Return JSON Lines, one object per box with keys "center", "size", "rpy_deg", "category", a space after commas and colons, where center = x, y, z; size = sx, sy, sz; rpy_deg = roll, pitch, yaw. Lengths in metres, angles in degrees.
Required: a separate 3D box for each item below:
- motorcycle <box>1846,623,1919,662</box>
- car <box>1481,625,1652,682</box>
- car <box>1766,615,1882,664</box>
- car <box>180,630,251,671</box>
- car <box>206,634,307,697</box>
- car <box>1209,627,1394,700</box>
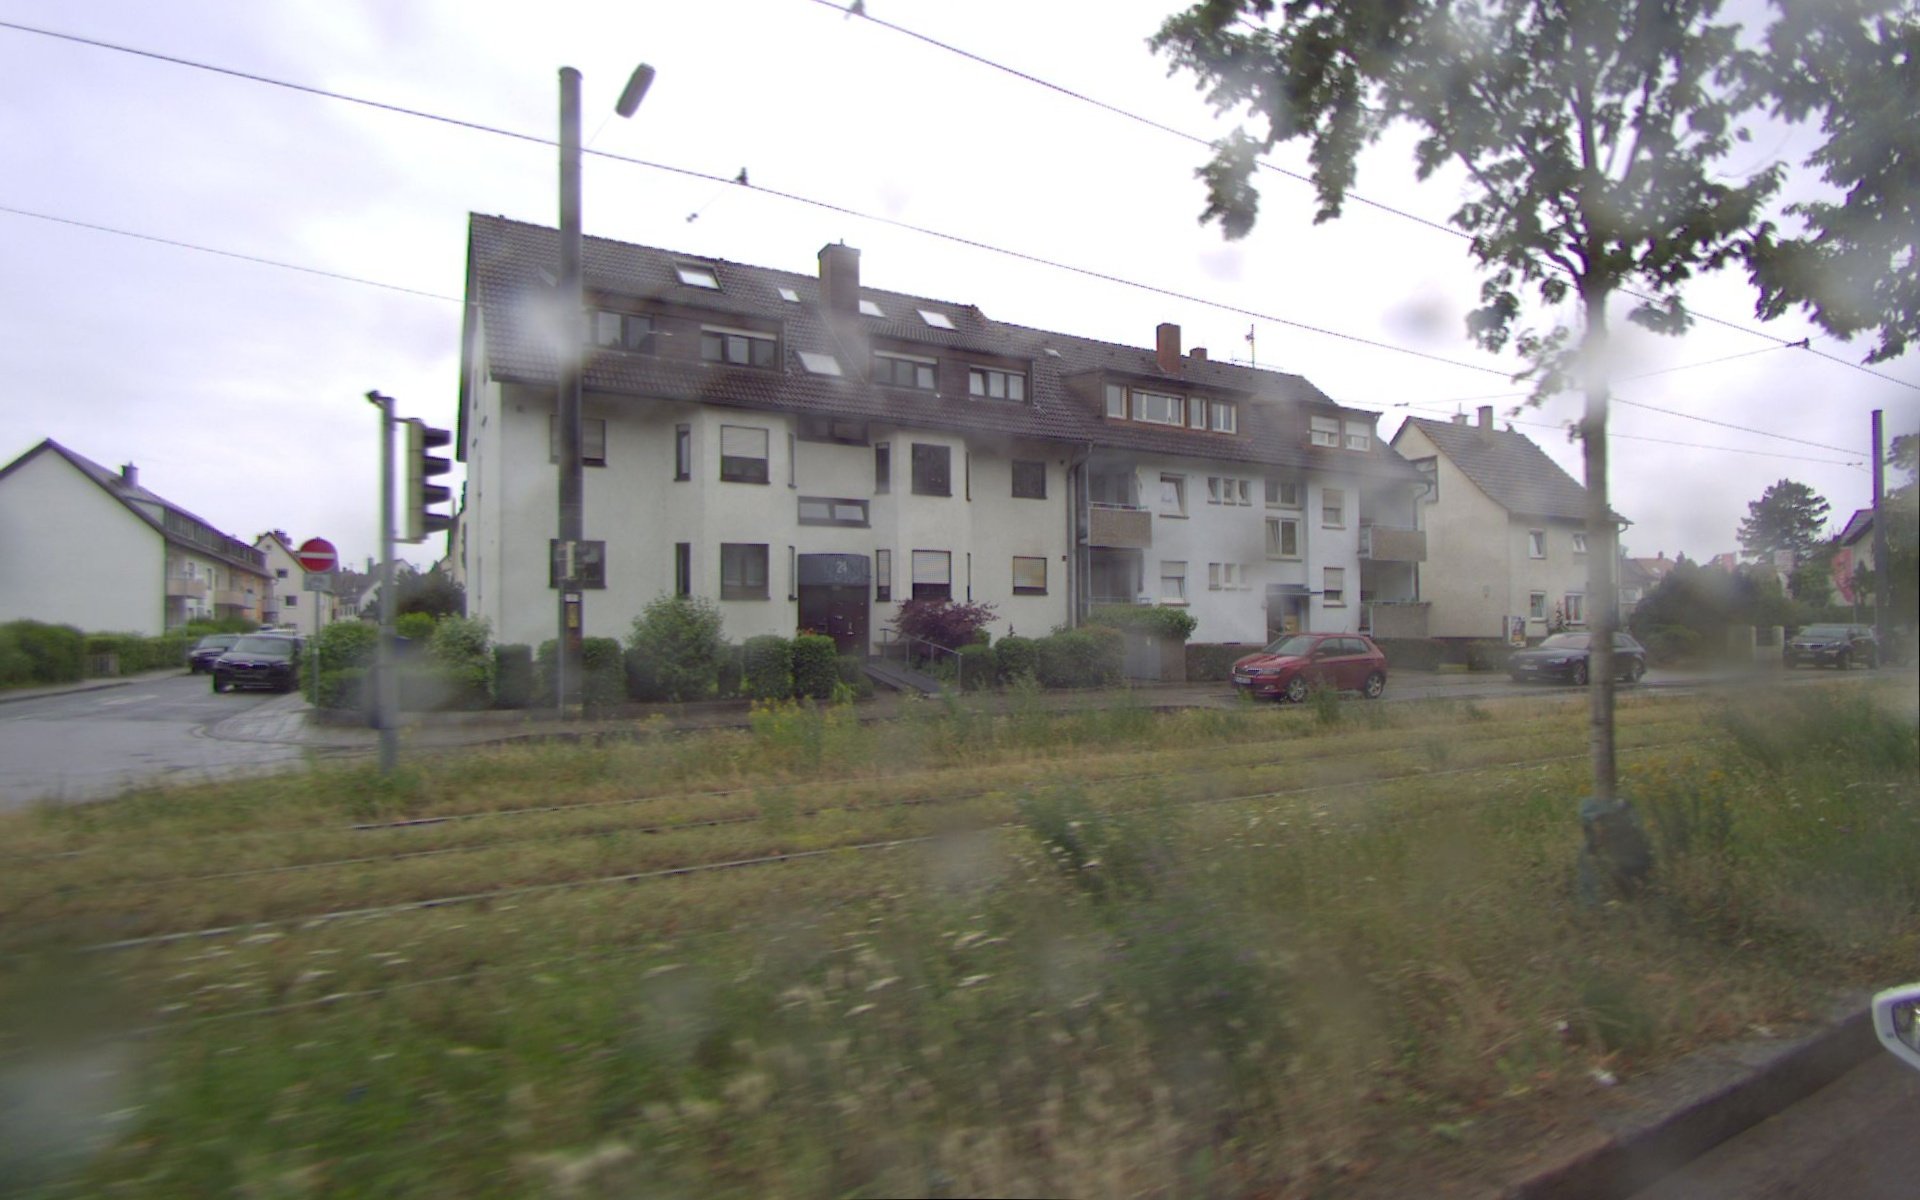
{"center": [36.497, 1.648, 39.562], "size": [1.241, 1.429, 2.689], "rpy_deg": [1, -1, 13], "category": "motorcycle"}
{"center": [17.107, 1.457, 28.320], "size": [4.700, 1.430, 1.986], "rpy_deg": [0, 0, -27], "category": "car"}
{"center": [31.706, 1.417, 36.833], "size": [4.337, 1.696, 1.984], "rpy_deg": [1, -1, -31], "category": "car"}
{"center": [-32.538, 2.191, 44.006], "size": [1.875, 1.661, 3.972], "rpy_deg": [0, -2, -28], "category": "car"}
{"center": [-20.174, 1.824, 28.959], "size": [1.875, 1.661, 3.972], "rpy_deg": [0, -2, -28], "category": "car"}
{"center": [7.845, 1.385, 23.049], "size": [3.949, 1.476, 1.791], "rpy_deg": [0, 0, -27], "category": "car"}
